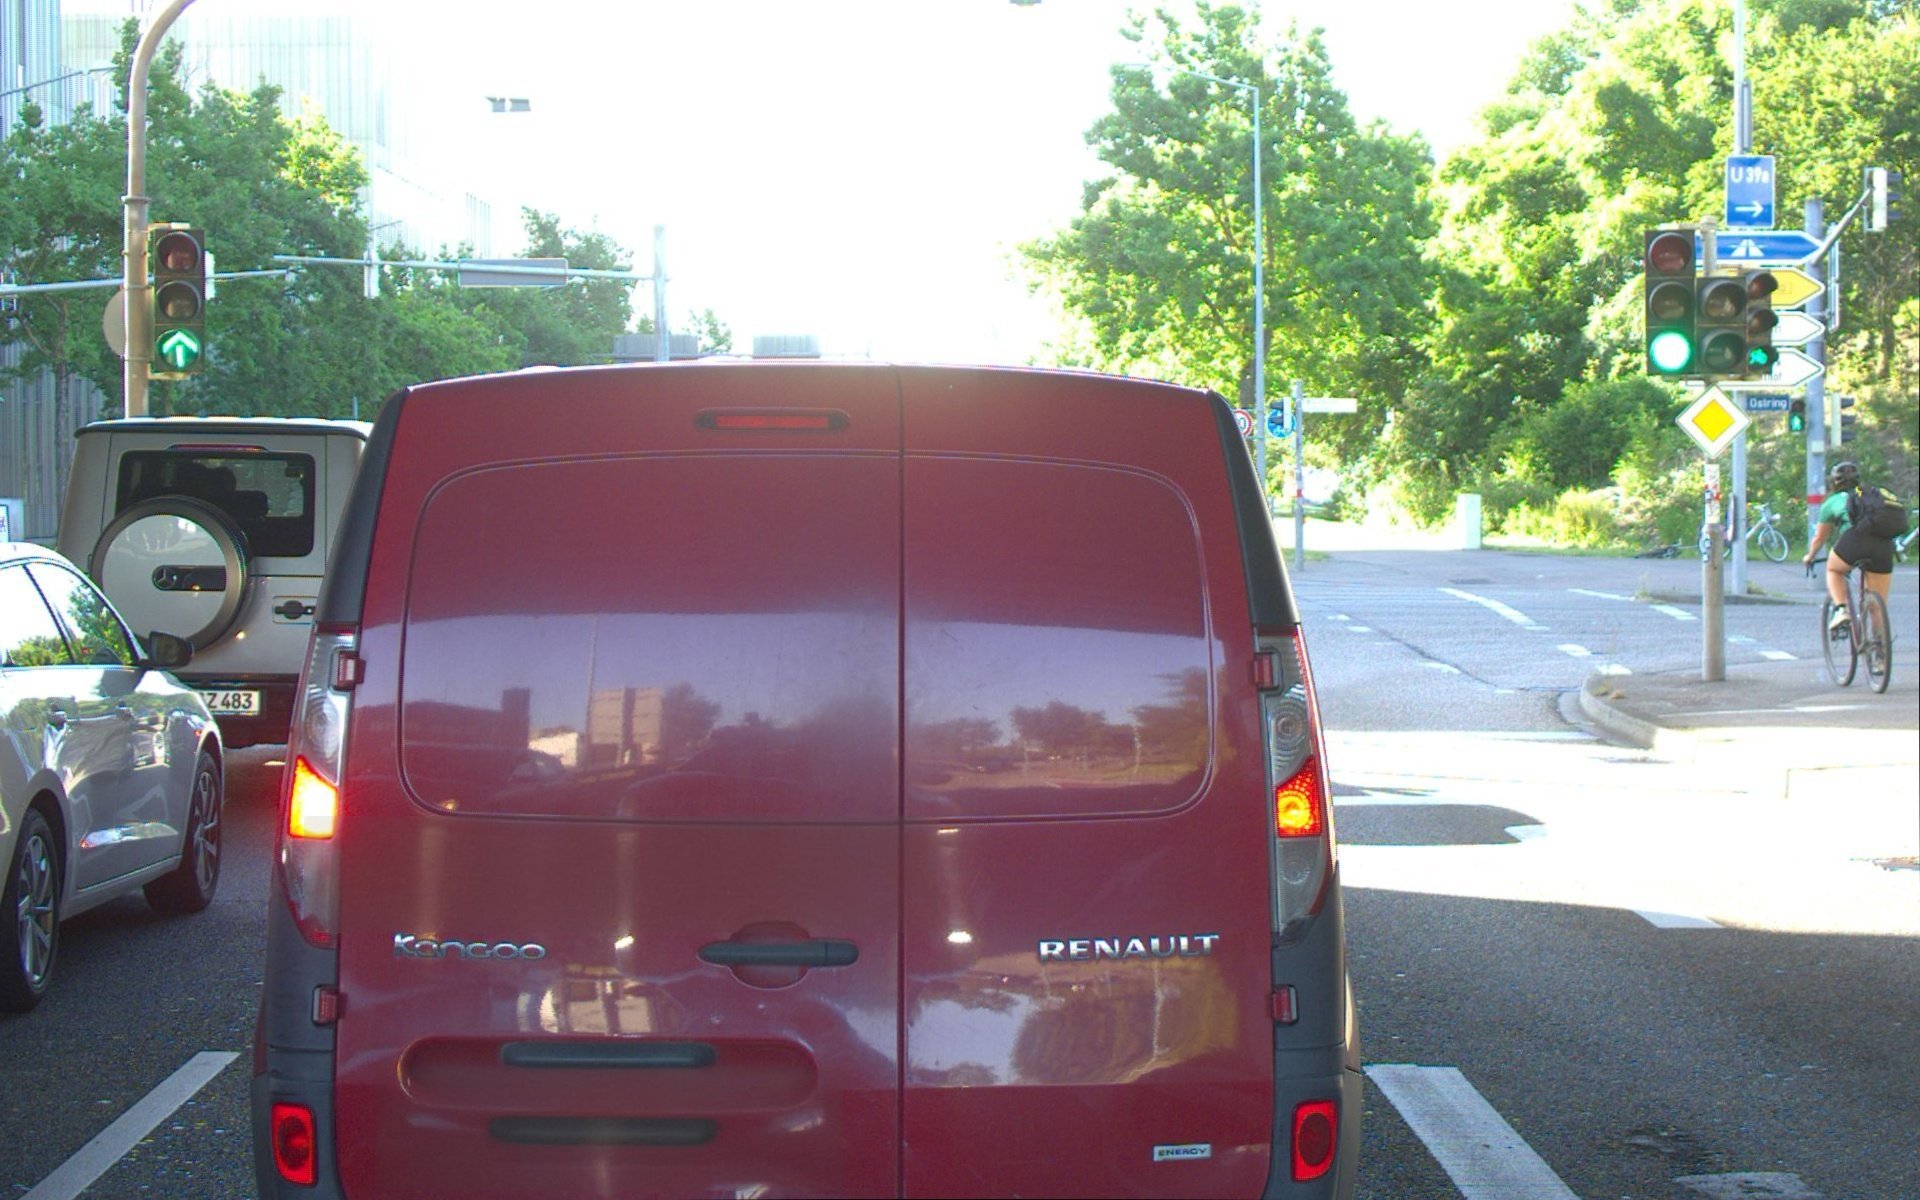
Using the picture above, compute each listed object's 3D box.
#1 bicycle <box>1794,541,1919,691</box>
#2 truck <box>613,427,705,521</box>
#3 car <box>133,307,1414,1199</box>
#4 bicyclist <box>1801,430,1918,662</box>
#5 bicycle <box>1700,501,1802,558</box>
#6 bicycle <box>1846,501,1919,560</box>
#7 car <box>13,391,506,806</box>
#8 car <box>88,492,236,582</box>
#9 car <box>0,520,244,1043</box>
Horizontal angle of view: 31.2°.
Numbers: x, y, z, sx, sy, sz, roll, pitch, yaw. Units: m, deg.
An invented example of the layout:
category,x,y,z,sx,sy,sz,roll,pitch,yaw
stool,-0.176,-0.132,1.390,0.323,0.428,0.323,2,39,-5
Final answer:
category,x,y,z,sx,sy,sz,roll,pitch,yaw
bicycle,6.385,0.103,24.331,0.592,1.020,1.750,1,1,2
truck,-10.309,-4.306,118.305,2.409,3.016,6.657,-2,2,0
car,-0.290,0.470,6.891,1.805,1.788,4.000,1,1,-1
bicyclist,6.380,-0.384,24.411,0.592,1.608,0.942,1,0,2
bicycle,14.354,-1.276,62.380,1.745,1.020,0.593,1,0,9
bicycle,16.656,-1.230,60.993,1.745,1.020,0.593,1,0,9
car,-3.690,-0.028,18.912,1.801,1.982,4.589,1,1,-1
car,-16.569,-1.343,71.626,1.825,1.731,4.629,-2,2,1
car,-3.642,0.469,11.411,1.813,1.433,3.731,0,2,-1
